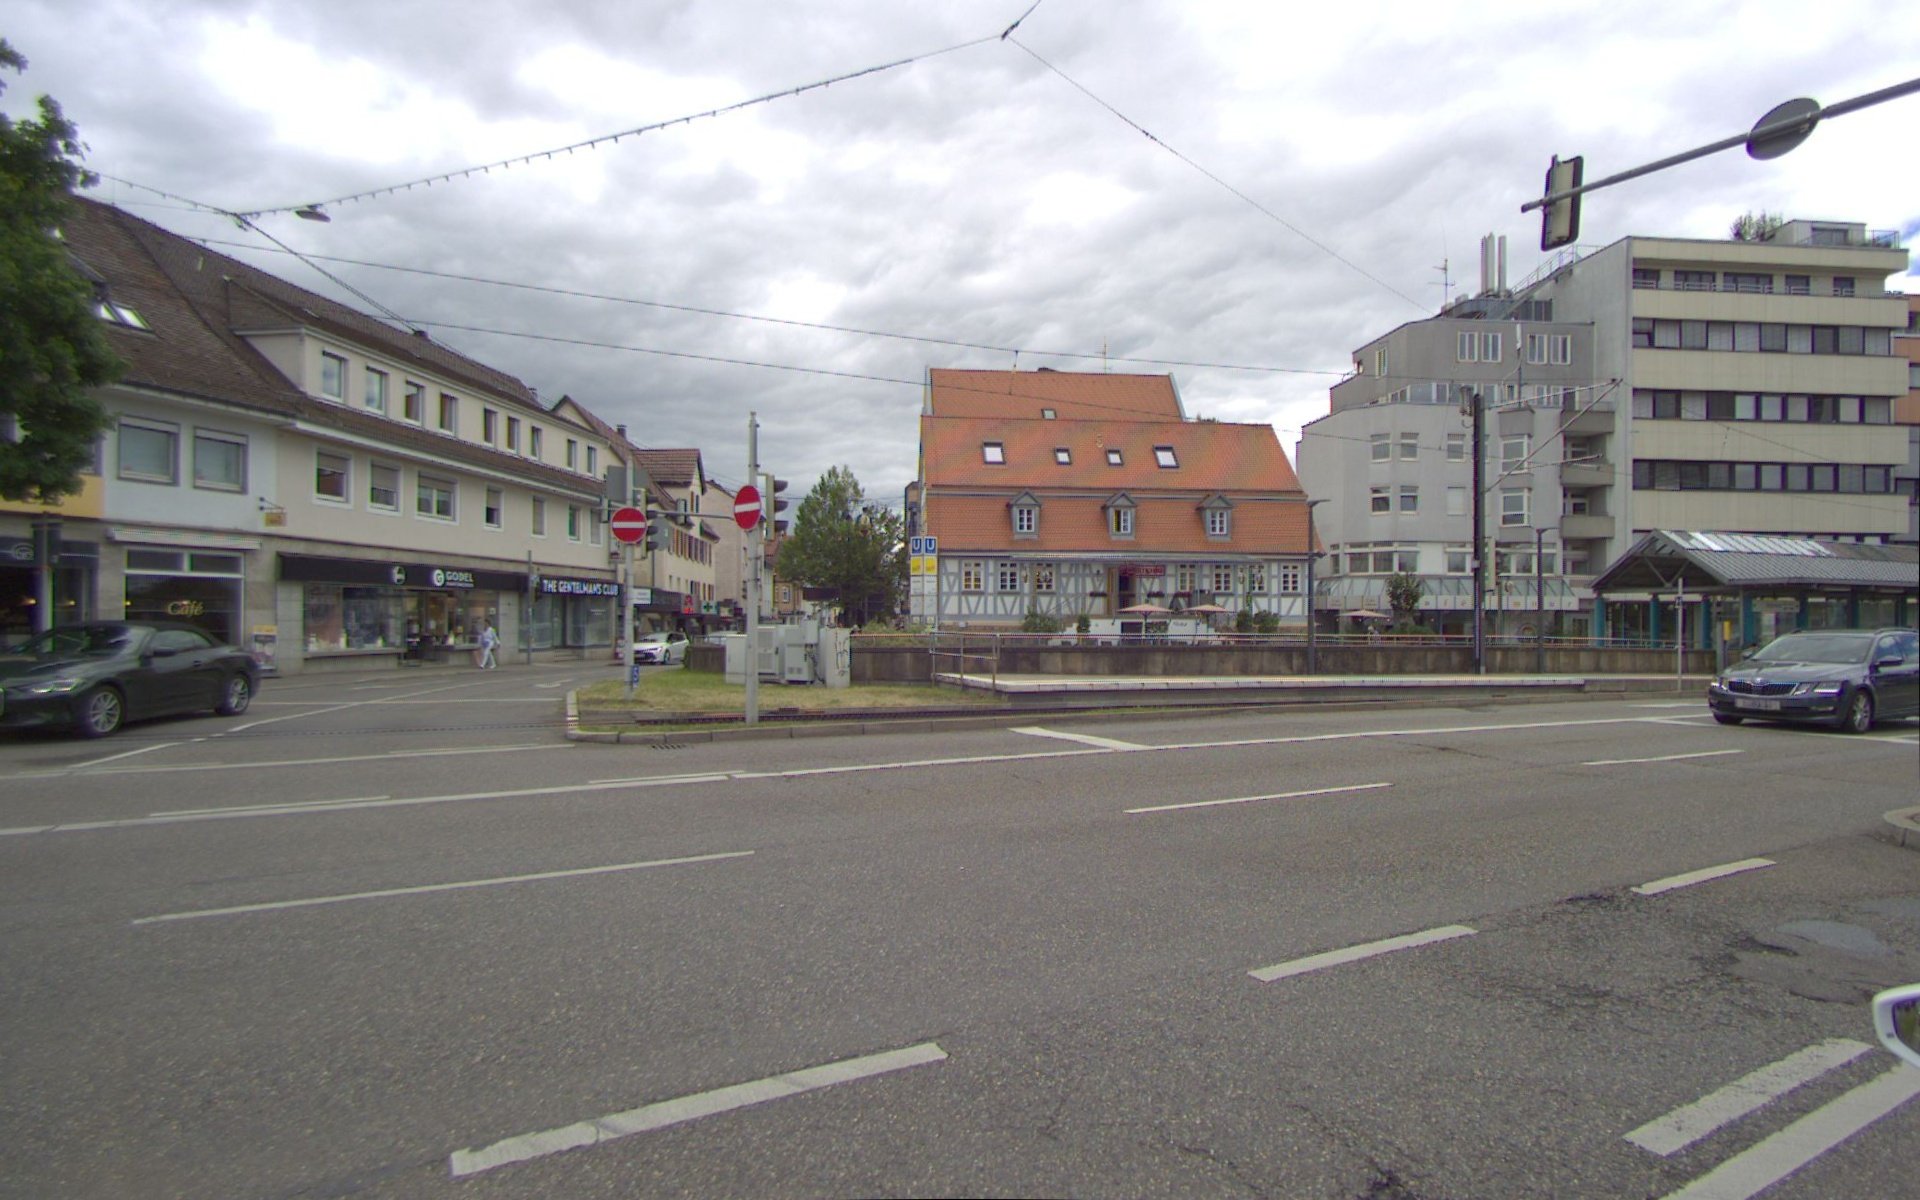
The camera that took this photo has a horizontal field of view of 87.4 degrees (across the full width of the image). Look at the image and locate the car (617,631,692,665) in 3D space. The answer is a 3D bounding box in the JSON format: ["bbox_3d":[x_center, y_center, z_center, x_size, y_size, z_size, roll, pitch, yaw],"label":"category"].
[{"bbox_3d":[-13.016,2.022,43.017,1.947,1.312,3.911,1,-1,0],"label":"car"}]

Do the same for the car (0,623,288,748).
[{"bbox_3d":[-11.310,1.014,13.547,1.793,1.399,4.678,1,-1,-7],"label":"car"}]

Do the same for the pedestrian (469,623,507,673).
[{"bbox_3d":[-16.331,1.648,34.772,0.858,1.692,0.859,0,-1,8],"label":"pedestrian"}]

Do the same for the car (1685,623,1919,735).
[{"bbox_3d":[13.196,1.109,15.156,4.552,1.474,1.792,1,-1,-27],"label":"car"}]

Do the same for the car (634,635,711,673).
[{"bbox_3d":[-10.956,2.034,38.517,1.948,1.312,3.910,1,-1,-2],"label":"car"}]
